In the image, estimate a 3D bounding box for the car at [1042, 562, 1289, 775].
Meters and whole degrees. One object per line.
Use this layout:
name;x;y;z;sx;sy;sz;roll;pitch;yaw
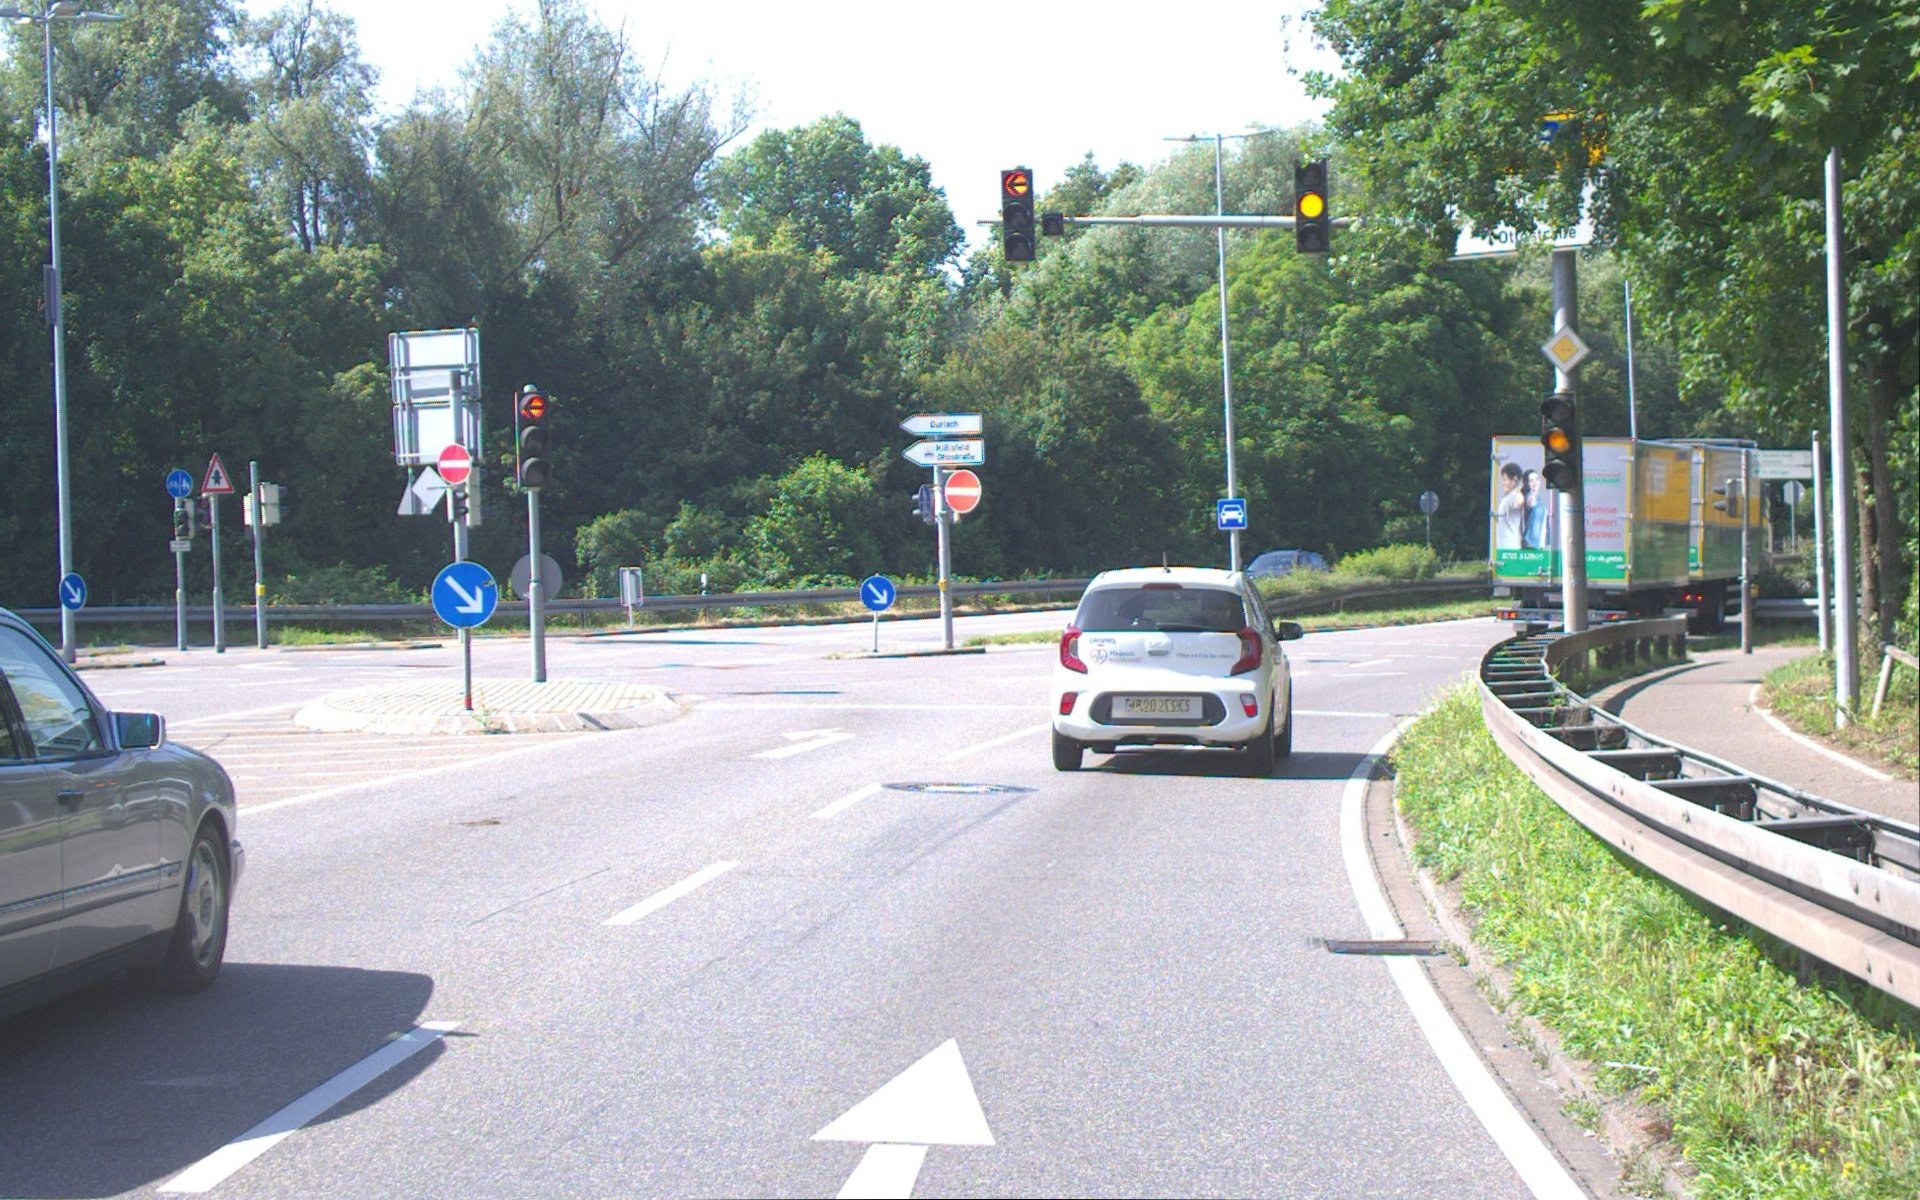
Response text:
car;1.644;0.470;26.403;1.702;1.489;3.999;1;0;6

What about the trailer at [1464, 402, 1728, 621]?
trailer;11.890;-1.579;63.656;3.228;3.745;7.816;2;1;22

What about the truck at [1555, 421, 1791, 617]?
truck;14.871;-1.612;71.147;3.264;3.745;8.361;2;1;22

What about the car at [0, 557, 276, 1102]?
car;-3.576;0.623;10.186;1.939;1.481;4.900;0;1;2
